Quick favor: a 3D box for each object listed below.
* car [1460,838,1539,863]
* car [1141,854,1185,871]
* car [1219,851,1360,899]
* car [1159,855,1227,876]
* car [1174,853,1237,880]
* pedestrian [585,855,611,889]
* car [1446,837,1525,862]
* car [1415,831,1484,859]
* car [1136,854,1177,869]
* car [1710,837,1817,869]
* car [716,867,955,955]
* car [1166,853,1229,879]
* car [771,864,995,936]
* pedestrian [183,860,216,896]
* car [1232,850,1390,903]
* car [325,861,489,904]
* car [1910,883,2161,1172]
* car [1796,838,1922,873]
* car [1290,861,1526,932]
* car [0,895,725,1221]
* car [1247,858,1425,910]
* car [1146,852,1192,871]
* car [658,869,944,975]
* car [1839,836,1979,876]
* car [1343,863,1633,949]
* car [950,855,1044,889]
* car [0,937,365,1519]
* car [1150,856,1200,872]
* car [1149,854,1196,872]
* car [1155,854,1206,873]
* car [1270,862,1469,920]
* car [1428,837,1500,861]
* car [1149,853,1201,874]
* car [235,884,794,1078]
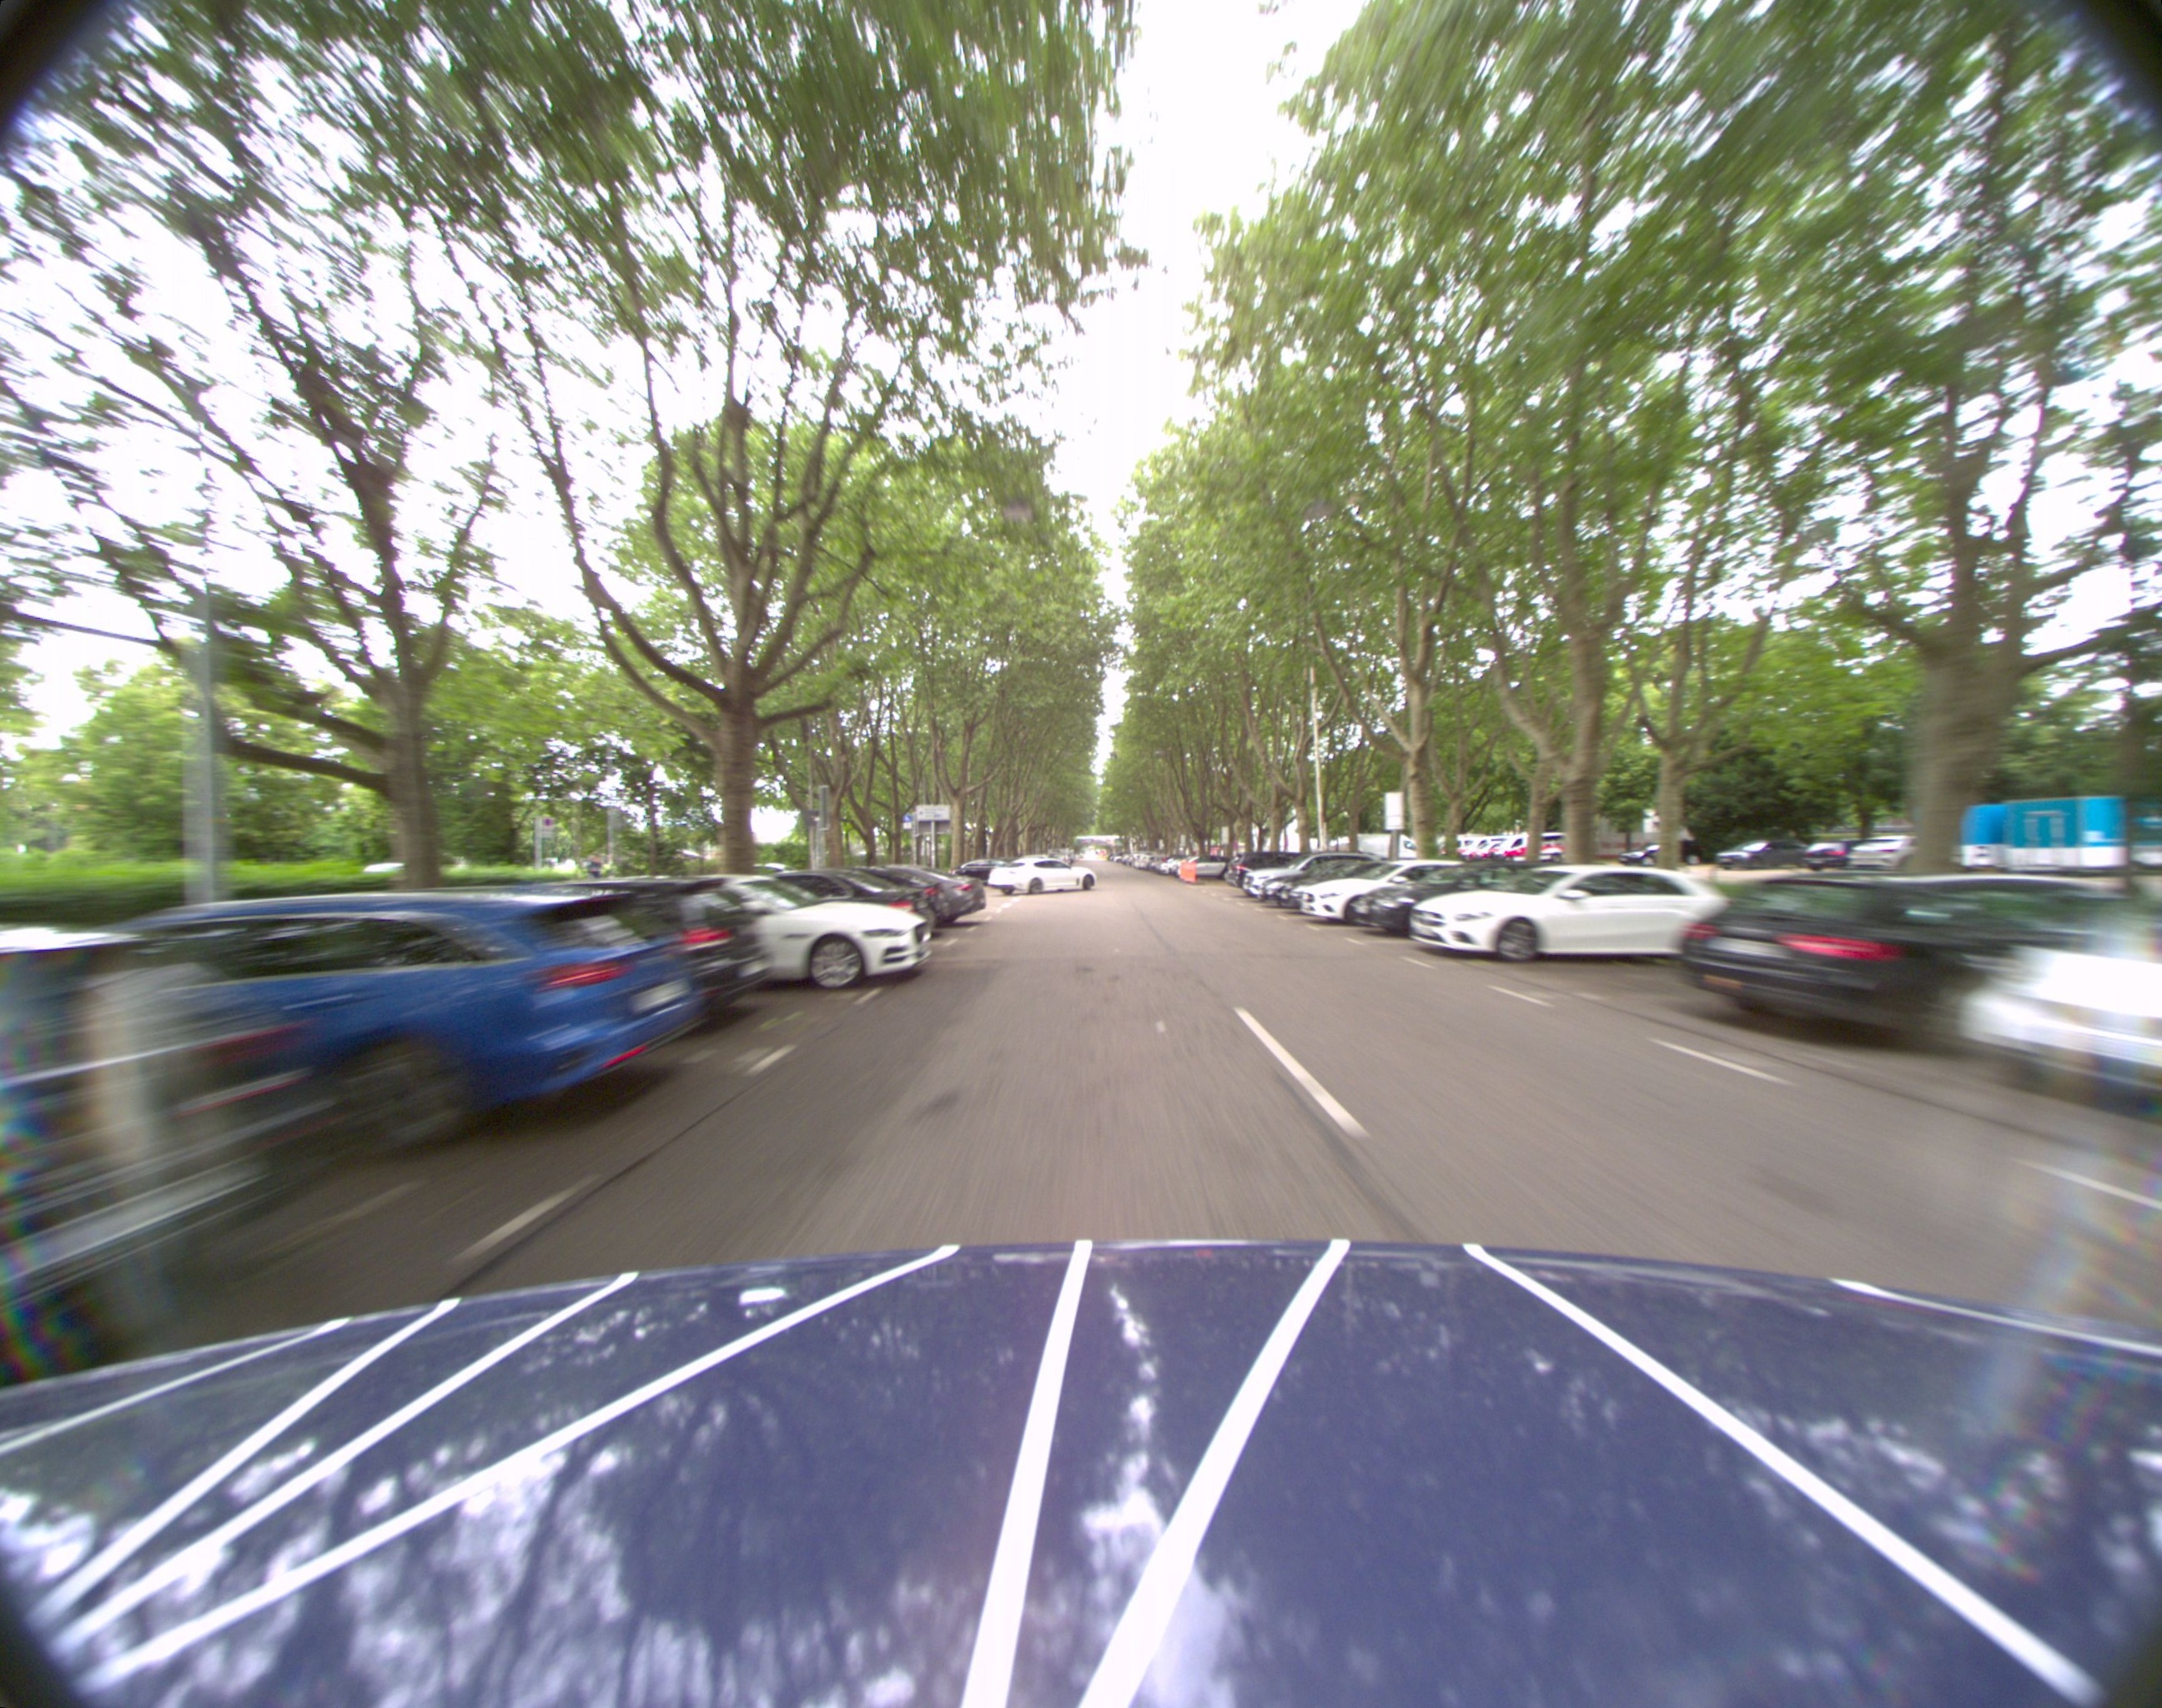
[{"bbox_3d":[34.557,-0.297,62.828,5.466,1.839,1.999,-2,1,-1],"label":"car"},{"bbox_3d":[7.699,0.758,71.550,4.039,1.518,1.800,1,0,3],"label":"car"},{"bbox_3d":[7.331,0.711,27.086,4.420,1.617,2.047,1,0,-3],"label":"car"},{"bbox_3d":[7.964,0.814,54.406,4.575,1.425,2.090,1,0,3],"label":"car"},{"bbox_3d":[7.608,0.765,46.676,3.565,1.569,1.847,1,0,3],"label":"car"},{"bbox_3d":[-23.043,0.861,36.240,0.724,1.558,0.698,-2,1,7],"label":"pedestrian"},{"bbox_3d":[34.717,-0.409,65.337,5.466,1.986,2.475,-2,1,-1],"label":"car"},{"bbox_3d":[35.241,-0.869,72.724,5.466,2.502,2.393,-2,1,-1],"label":"car"},{"bbox_3d":[7.574,0.761,76.894,3.996,1.422,2.001,1,0,3],"label":"car"},{"bbox_3d":[34.783,-0.047,38.784,3.998,1.478,1.800,-2,1,-3],"label":"car"},{"bbox_3d":[-4.587,1.038,14.729,4.029,1.409,1.910,-2,0,-4],"label":"car"},{"bbox_3d":[7.476,0.763,49.140,3.847,1.529,1.676,1,0,3],"label":"car"},{"bbox_3d":[-4.424,1.016,17.357,4.597,1.409,1.719,-2,0,4],"label":"car"},{"bbox_3d":[-41.912,1.128,36.126,0.724,1.634,0.698,-2,1,7],"label":"pedestrian"},{"bbox_3d":[7.328,0.699,24.450,4.421,1.617,2.046,1,0,-6],"label":"car"},{"bbox_3d":[-24.381,1.019,27.593,4.288,1.453,1.784,0,0,-1],"label":"car"},{"bbox_3d":[7.809,0.929,4.364,3.996,1.445,1.855,-2,1,2],"label":"car"},{"bbox_3d":[34.835,0.055,34.064,4.014,1.369,1.729,-2,1,-3],"label":"car"},{"bbox_3d":[7.072,0.897,16.752,4.419,1.416,1.776,1,0,-1],"label":"car"},{"bbox_3d":[-4.767,1.118,4.866,4.027,1.439,1.913,-2,0,-5],"label":"car"},{"bbox_3d":[7.223,0.840,21.864,4.420,1.387,2.047,1,0,-2],"label":"car"},{"bbox_3d":[8.015,0.715,69.317,4.028,1.619,2.001,1,0,3],"label":"car"},{"bbox_3d":[-4.297,1.030,12.072,3.839,1.409,1.718,-2,0,1],"label":"car"},{"bbox_3d":[34.476,0.053,31.700,3.997,1.499,1.733,-2,1,-1],"label":"car"},{"bbox_3d":[7.401,0.915,14.159,4.418,1.409,1.784,1,0,2],"label":"car"},{"bbox_3d":[-4.508,0.965,41.482,4.832,1.497,2.000,-3,0,-1],"label":"car"},{"bbox_3d":[-5.029,1.143,2.126,4.207,1.447,1.785,-2,0,-2],"label":"car"},{"bbox_3d":[7.895,0.855,64.029,3.996,1.302,2.001,1,-1,3],"label":"car"},{"bbox_3d":[8.021,0.800,66.836,3.996,1.462,2.001,1,0,3],"label":"car"},{"bbox_3d":[8.048,0.767,61.817,3.996,1.505,1.874,1,0,3],"label":"car"},{"bbox_3d":[7.293,0.919,19.486,4.419,1.387,1.724,1,0,-2],"label":"car"},{"bbox_3d":[35.250,-0.483,70.038,5.466,2.009,2.393,-2,1,-1],"label":"car"},{"bbox_3d":[7.279,0.731,59.150,3.847,1.560,1.847,1,0,3],"label":"car"},{"bbox_3d":[-5.158,1.121,7.334,4.025,1.439,1.784,-2,0,2],"label":"car"}]
